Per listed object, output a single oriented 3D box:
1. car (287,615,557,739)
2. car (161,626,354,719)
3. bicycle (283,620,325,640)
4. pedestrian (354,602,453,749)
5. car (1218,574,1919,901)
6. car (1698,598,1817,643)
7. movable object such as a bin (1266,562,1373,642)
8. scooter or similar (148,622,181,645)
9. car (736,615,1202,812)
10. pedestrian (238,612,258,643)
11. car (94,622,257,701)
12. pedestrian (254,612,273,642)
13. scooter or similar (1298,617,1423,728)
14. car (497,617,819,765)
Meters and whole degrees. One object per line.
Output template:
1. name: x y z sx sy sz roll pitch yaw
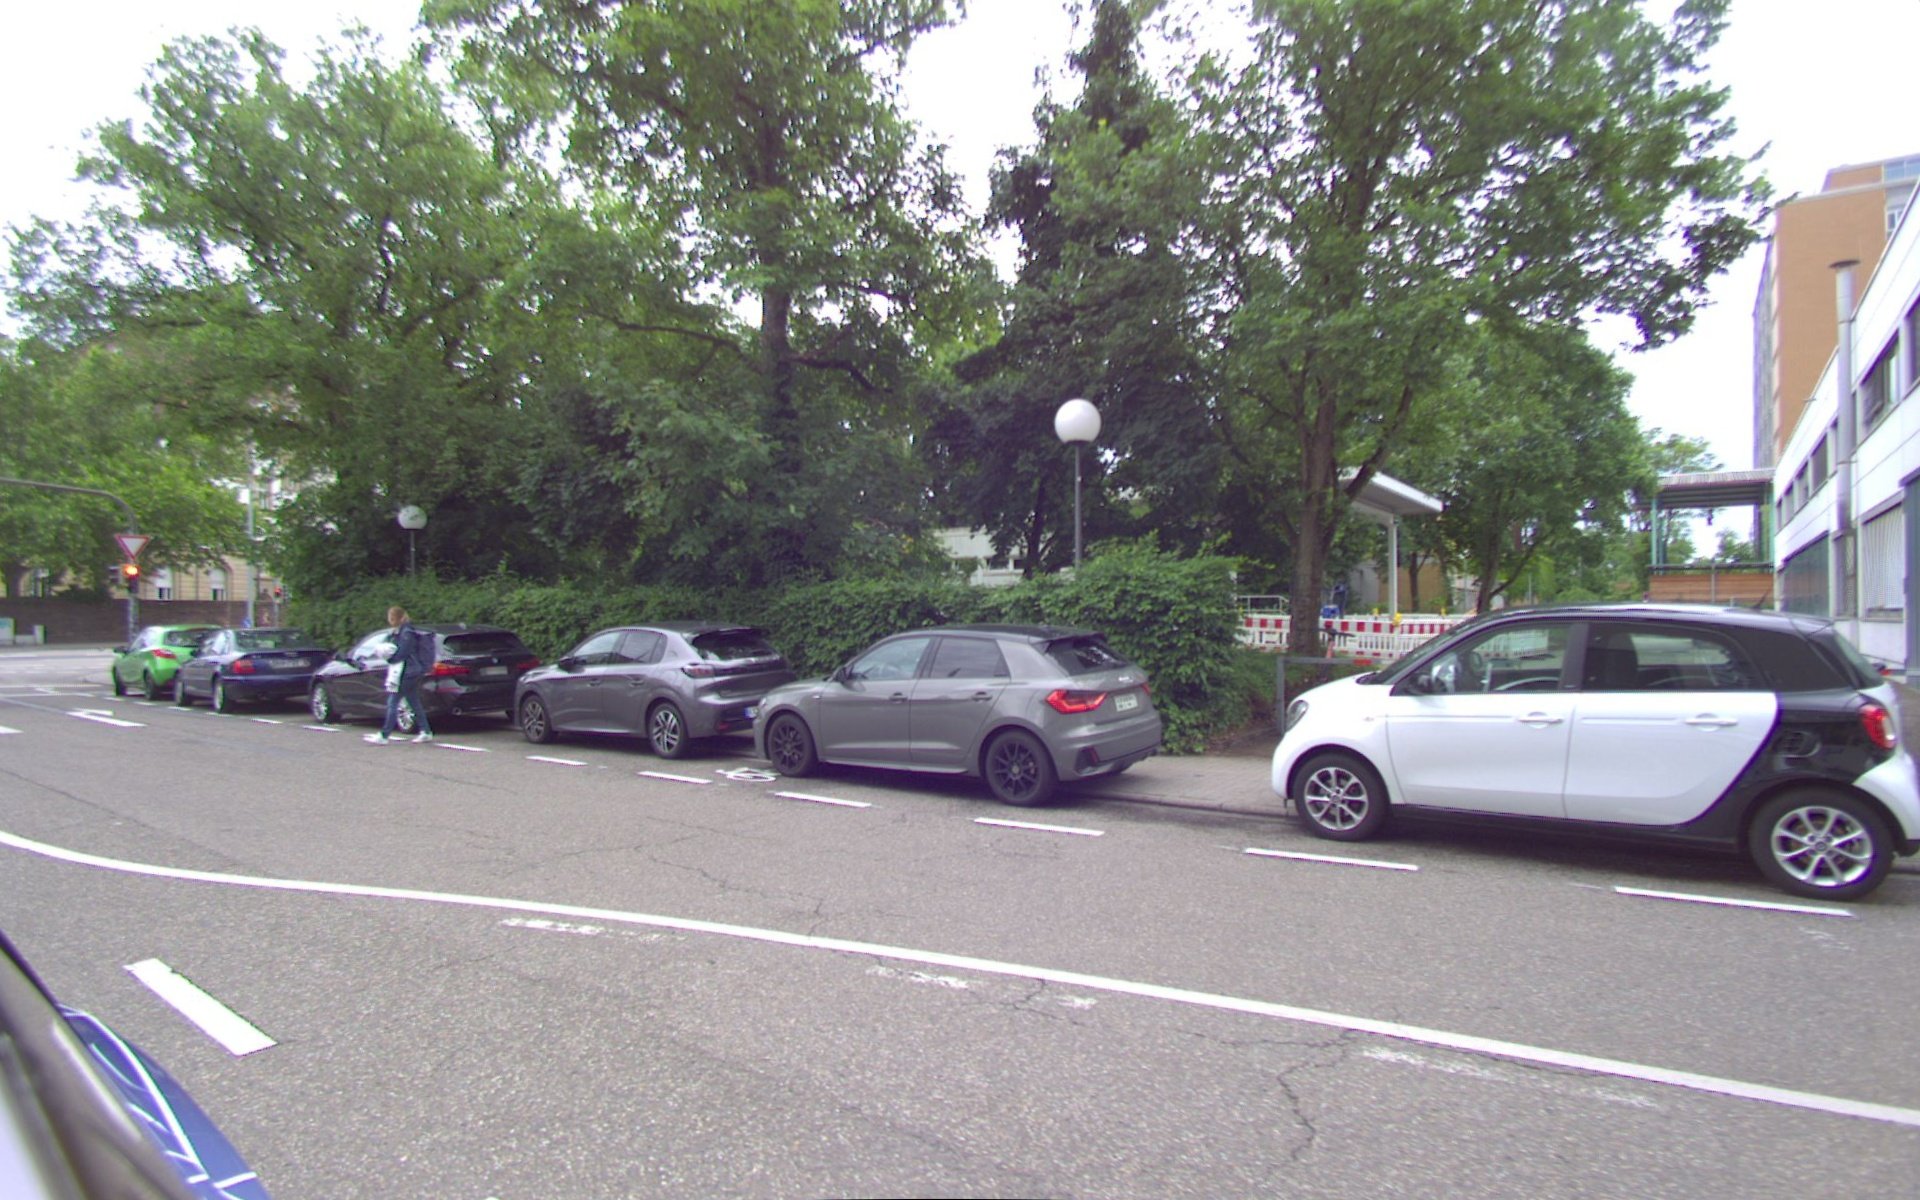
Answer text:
1. car: -8.015 1.047 14.916 4.522 1.573 1.781 -2 -2 37
2. car: -12.537 1.190 17.967 4.334 1.419 1.779 -1 -1 41
3. bicycle: -40.293 1.829 62.214 0.580 1.194 2.135 1 0 28
4. pedestrian: -6.697 0.887 12.180 0.967 1.674 0.731 -3 -3 40
5. car: 3.875 0.718 6.624 3.870 1.598 1.700 -2 -1 36
6. car: 28.886 0.724 36.804 1.859 1.541 3.755 -1 -1 11
7. movable object such as a bin: 10.876 0.134 30.382 1.994 2.188 4.617 -1 -2 33
8. scooter or similar: -44.275 1.860 56.310 1.390 1.239 0.496 1 0 -34
9. car: -0.023 0.887 9.278 3.999 1.422 1.748 -2 -1 35
10. pedestrian: -40.322 1.532 57.319 0.733 1.752 0.663 0 -1 34
11. car: -16.559 1.217 21.296 4.243 1.481 1.780 -1 -1 39
12. pedestrian: -39.905 1.542 57.986 0.777 1.706 0.636 1 0 31
13. scooter or similar: 4.632 0.822 11.707 1.285 1.219 0.452 -1 -1 -12
14. car: -3.646 0.951 12.004 3.818 1.482 1.745 -1 -1 37
